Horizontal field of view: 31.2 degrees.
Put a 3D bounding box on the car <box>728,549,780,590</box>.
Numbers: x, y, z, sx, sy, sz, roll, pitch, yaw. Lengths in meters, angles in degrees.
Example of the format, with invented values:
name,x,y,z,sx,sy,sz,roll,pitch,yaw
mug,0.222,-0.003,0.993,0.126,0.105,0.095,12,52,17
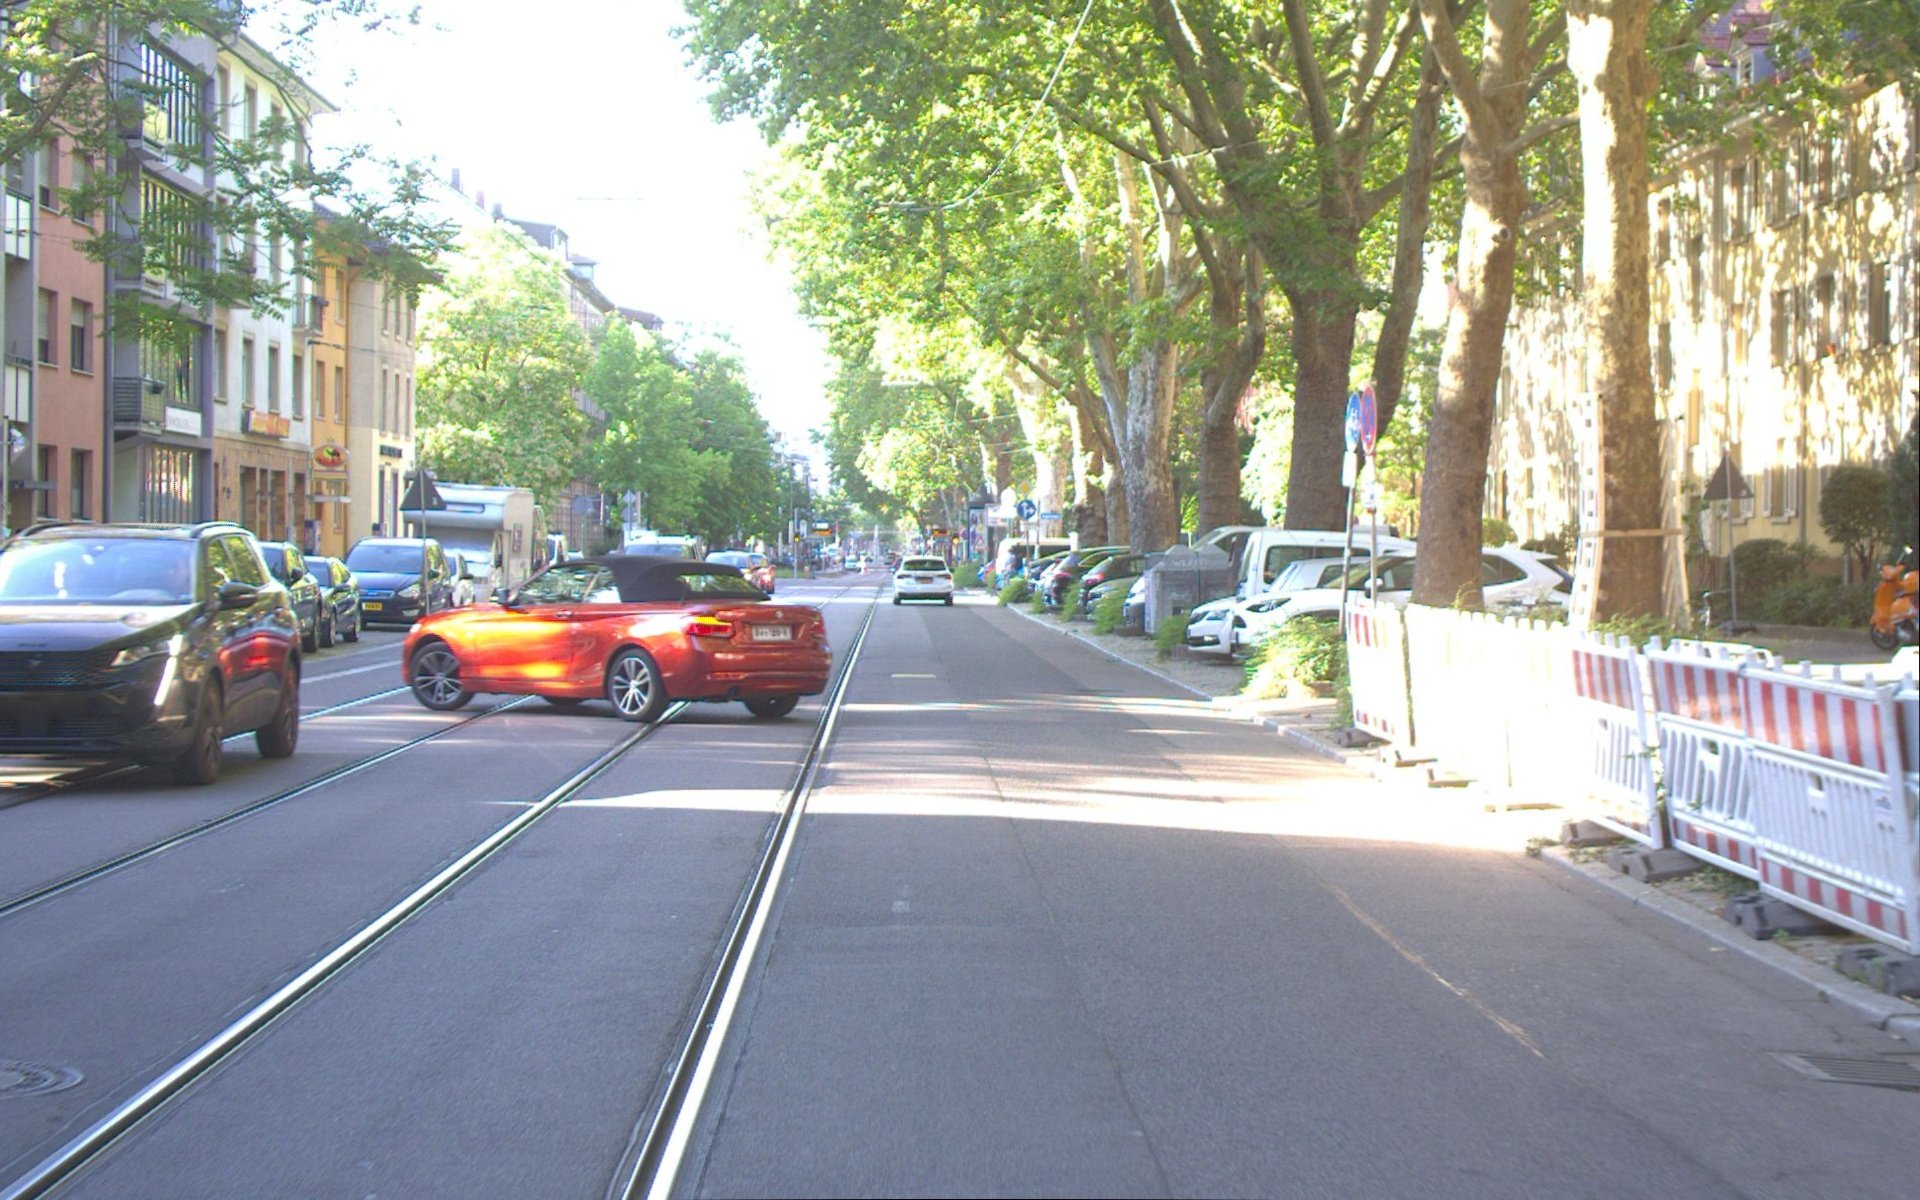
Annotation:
name,x,y,z,sx,sy,sz,roll,pitch,yaw
car,-7.488,-1.117,125.218,1.723,1.432,4.069,-1,1,-1

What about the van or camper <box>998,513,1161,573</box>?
name,x,y,z,sx,sy,sz,roll,pitch,yaw
van or camper,4.261,-2.042,122.756,5.554,2.006,2.245,0,3,-5

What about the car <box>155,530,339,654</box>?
name,x,y,z,sx,sy,sz,roll,pitch,yaw
car,-10.287,-0.152,49.919,1.781,1.605,4.588,4,1,-2

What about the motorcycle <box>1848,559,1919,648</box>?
name,x,y,z,sx,sy,sz,roll,pitch,yaw
motorcycle,12.433,0.032,45.553,0.715,1.149,2.264,0,1,-1

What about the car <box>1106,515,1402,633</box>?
name,x,y,z,sx,sy,sz,roll,pitch,yaw
car,5.031,-0.454,59.321,4.835,1.956,2.065,1,1,-3

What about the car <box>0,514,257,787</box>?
name,x,y,z,sx,sy,sz,roll,pitch,yaw
car,-5.633,0.248,22.403,1.852,1.595,4.465,1,1,-9

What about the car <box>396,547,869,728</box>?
name,x,y,z,sx,sy,sz,roll,pitch,yaw
car,-2.945,0.275,30.310,4.233,1.384,1.794,3,3,43

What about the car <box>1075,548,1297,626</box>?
name,x,y,z,sx,sy,sz,roll,pitch,yaw
car,4.457,-0.276,68.221,4.247,1.478,1.898,1,1,-1

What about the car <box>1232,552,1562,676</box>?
name,x,y,z,sx,sy,sz,roll,pitch,yaw
car,5.276,0.152,41.871,3.844,1.428,1.851,1,1,3

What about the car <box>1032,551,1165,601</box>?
name,x,y,z,sx,sy,sz,roll,pitch,yaw
car,3.870,-0.680,96.496,3.650,1.373,1.890,1,1,0

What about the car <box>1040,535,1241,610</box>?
name,x,y,z,sx,sy,sz,roll,pitch,yaw
car,4.129,-0.633,78.581,4.496,1.596,2.027,-1,1,3

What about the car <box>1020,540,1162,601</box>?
name,x,y,z,sx,sy,sz,roll,pitch,yaw
car,3.740,-0.853,98.716,3.923,1.664,1.961,1,1,-3

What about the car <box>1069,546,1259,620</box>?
name,x,y,z,sx,sy,sz,roll,pitch,yaw
car,4.264,-0.366,72.127,3.838,1.504,1.711,1,1,-1

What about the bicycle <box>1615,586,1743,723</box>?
name,x,y,z,sx,sy,sz,roll,pitch,yaw
bicycle,6.390,0.465,30.633,0.690,1.150,1.949,1,1,-1

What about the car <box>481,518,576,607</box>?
name,x,y,z,sx,sy,sz,roll,pitch,yaw
car,-11.218,-1.012,89.603,1.952,2.084,5.249,4,1,-3

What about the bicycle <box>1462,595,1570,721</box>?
name,x,y,z,sx,sy,sz,roll,pitch,yaw
bicycle,4.977,0.506,30.846,0.635,1.067,1.809,1,1,-1

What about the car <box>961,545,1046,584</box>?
name,x,y,z,sx,sy,sz,roll,pitch,yaw
car,2.056,-1.685,162.802,3.987,1.778,2.000,1,1,-1

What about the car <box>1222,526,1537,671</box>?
name,x,y,z,sx,sy,sz,roll,pitch,yaw
car,5.301,-0.034,43.831,3.844,1.766,1.916,1,1,3

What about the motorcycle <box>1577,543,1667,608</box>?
name,x,y,z,sx,sy,sz,roll,pitch,yaw
motorcycle,14.678,-0.548,76.220,1.803,1.356,0.622,-2,1,-3

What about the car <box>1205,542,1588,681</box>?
name,x,y,z,sx,sy,sz,roll,pitch,yaw
car,4.965,0.125,39.472,4.087,1.516,1.917,1,0,-2

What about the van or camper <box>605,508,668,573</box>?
name,x,y,z,sx,sy,sz,roll,pitch,yaw
van or camper,-12.812,-2.346,136.516,2.079,2.524,5.318,1,1,-1

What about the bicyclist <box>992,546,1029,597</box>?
name,x,y,z,sx,sy,sz,roll,pitch,yaw
bicyclist,1.701,-0.967,115.651,1.045,1.700,1.058,0,1,-10

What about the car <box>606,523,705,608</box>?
name,x,y,z,sx,sy,sz,roll,pitch,yaw
car,-6.798,-0.790,77.185,1.891,1.826,4.896,1,1,-1

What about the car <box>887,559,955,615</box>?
name,x,y,z,sx,sy,sz,roll,pitch,yaw
car,-1.163,-0.388,99.903,1.918,1.579,3.791,-1,1,-1

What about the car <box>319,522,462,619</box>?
name,x,y,z,sx,sy,sz,roll,pitch,yaw
car,-10.667,-0.581,64.681,1.952,1.680,5.071,3,1,-2

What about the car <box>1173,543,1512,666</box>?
name,x,y,z,sx,sy,sz,roll,pitch,yaw
car,5.055,0.041,45.856,4.371,1.537,1.801,1,2,3

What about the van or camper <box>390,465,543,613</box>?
name,x,y,z,sx,sy,sz,roll,pitch,yaw
van or camper,-10.981,-1.358,76.925,2.337,3.030,6.397,4,1,0

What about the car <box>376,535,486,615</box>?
name,x,y,z,sx,sy,sz,roll,pitch,yaw
car,-10.805,-0.531,70.430,1.710,1.483,3.862,4,1,-2

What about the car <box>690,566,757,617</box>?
name,x,y,z,sx,sy,sz,roll,pitch,yaw
car,-6.965,-0.269,101.685,1.775,1.453,4.203,-1,1,-1

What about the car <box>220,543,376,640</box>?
name,x,y,z,sx,sy,sz,roll,pitch,yaw
car,-10.554,-0.165,55.068,1.738,1.396,4.383,3,1,-2
